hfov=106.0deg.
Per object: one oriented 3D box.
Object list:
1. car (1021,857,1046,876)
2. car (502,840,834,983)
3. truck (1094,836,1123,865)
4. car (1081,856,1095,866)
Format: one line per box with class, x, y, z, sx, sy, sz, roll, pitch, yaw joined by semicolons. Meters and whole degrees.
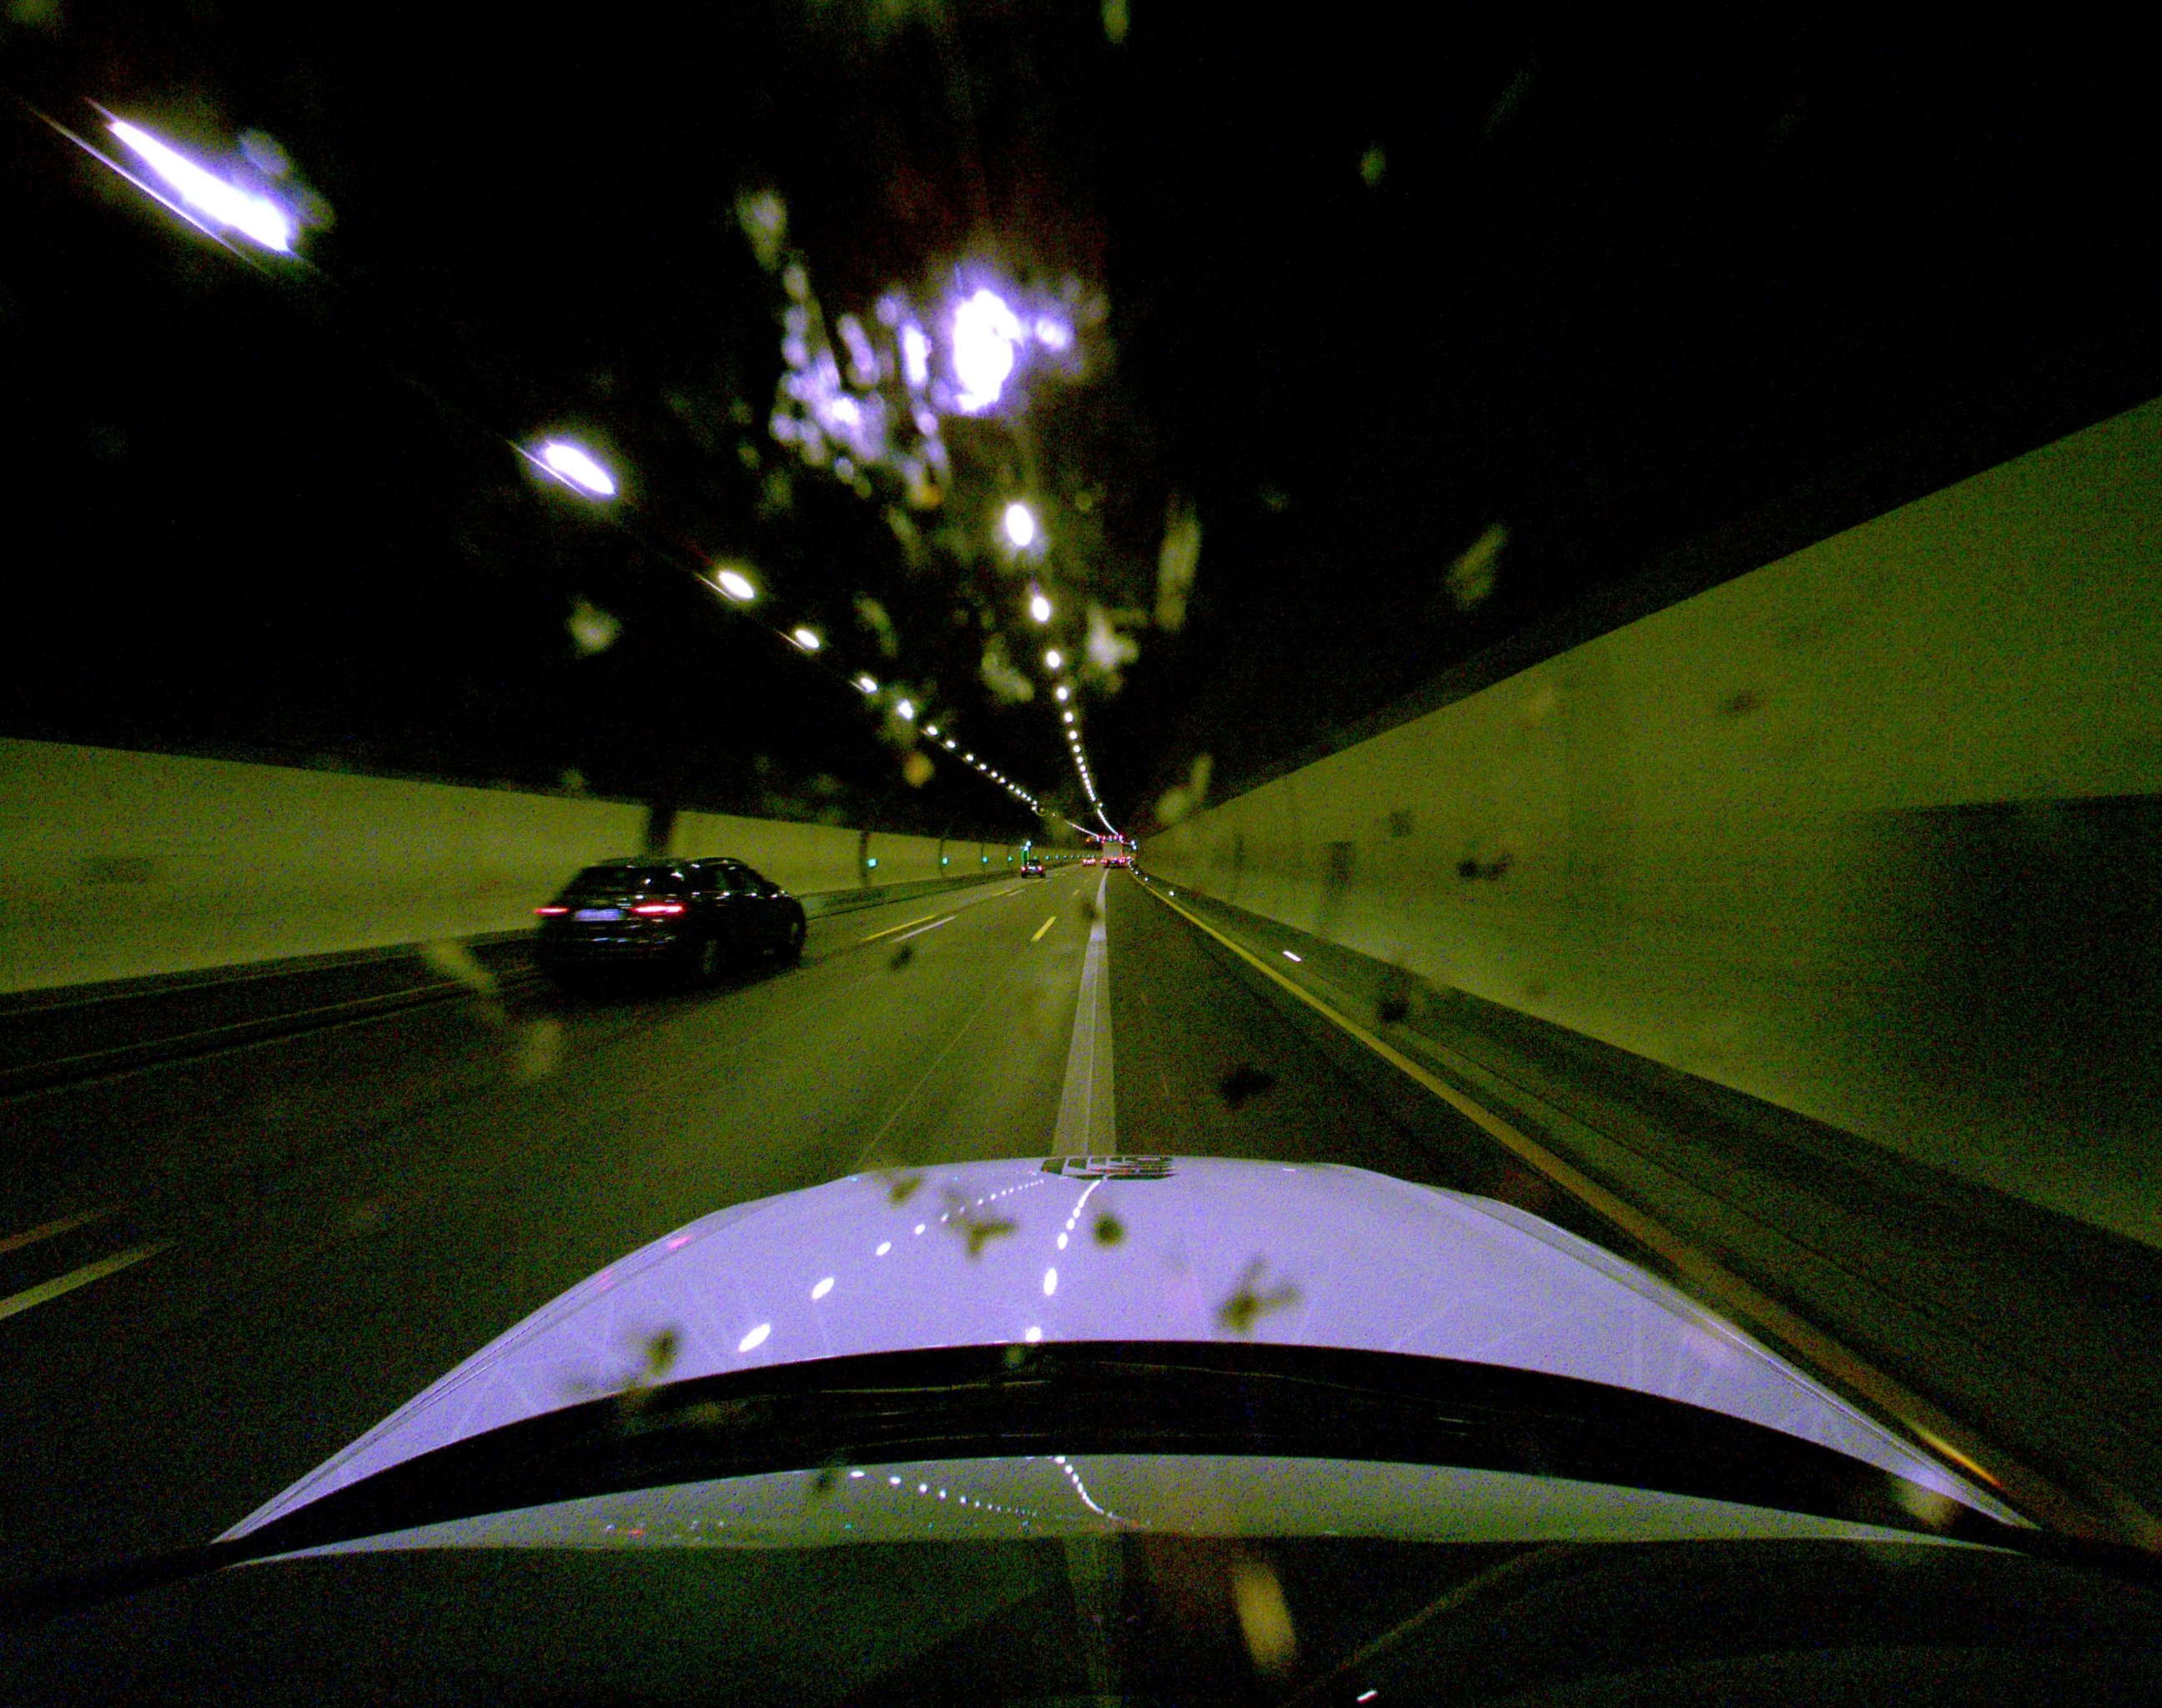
car;-3.703;0.958;63.366;1.683;1.417;3.923;0;0;0
car;-5.156;0.634;11.121;1.986;1.540;4.744;0;0;2
truck;3.619;-0.445;108.028;3.579;3.650;10.726;0;0;2
car;1.050;0.968;120.657;1.986;1.413;4.744;0;0;1
